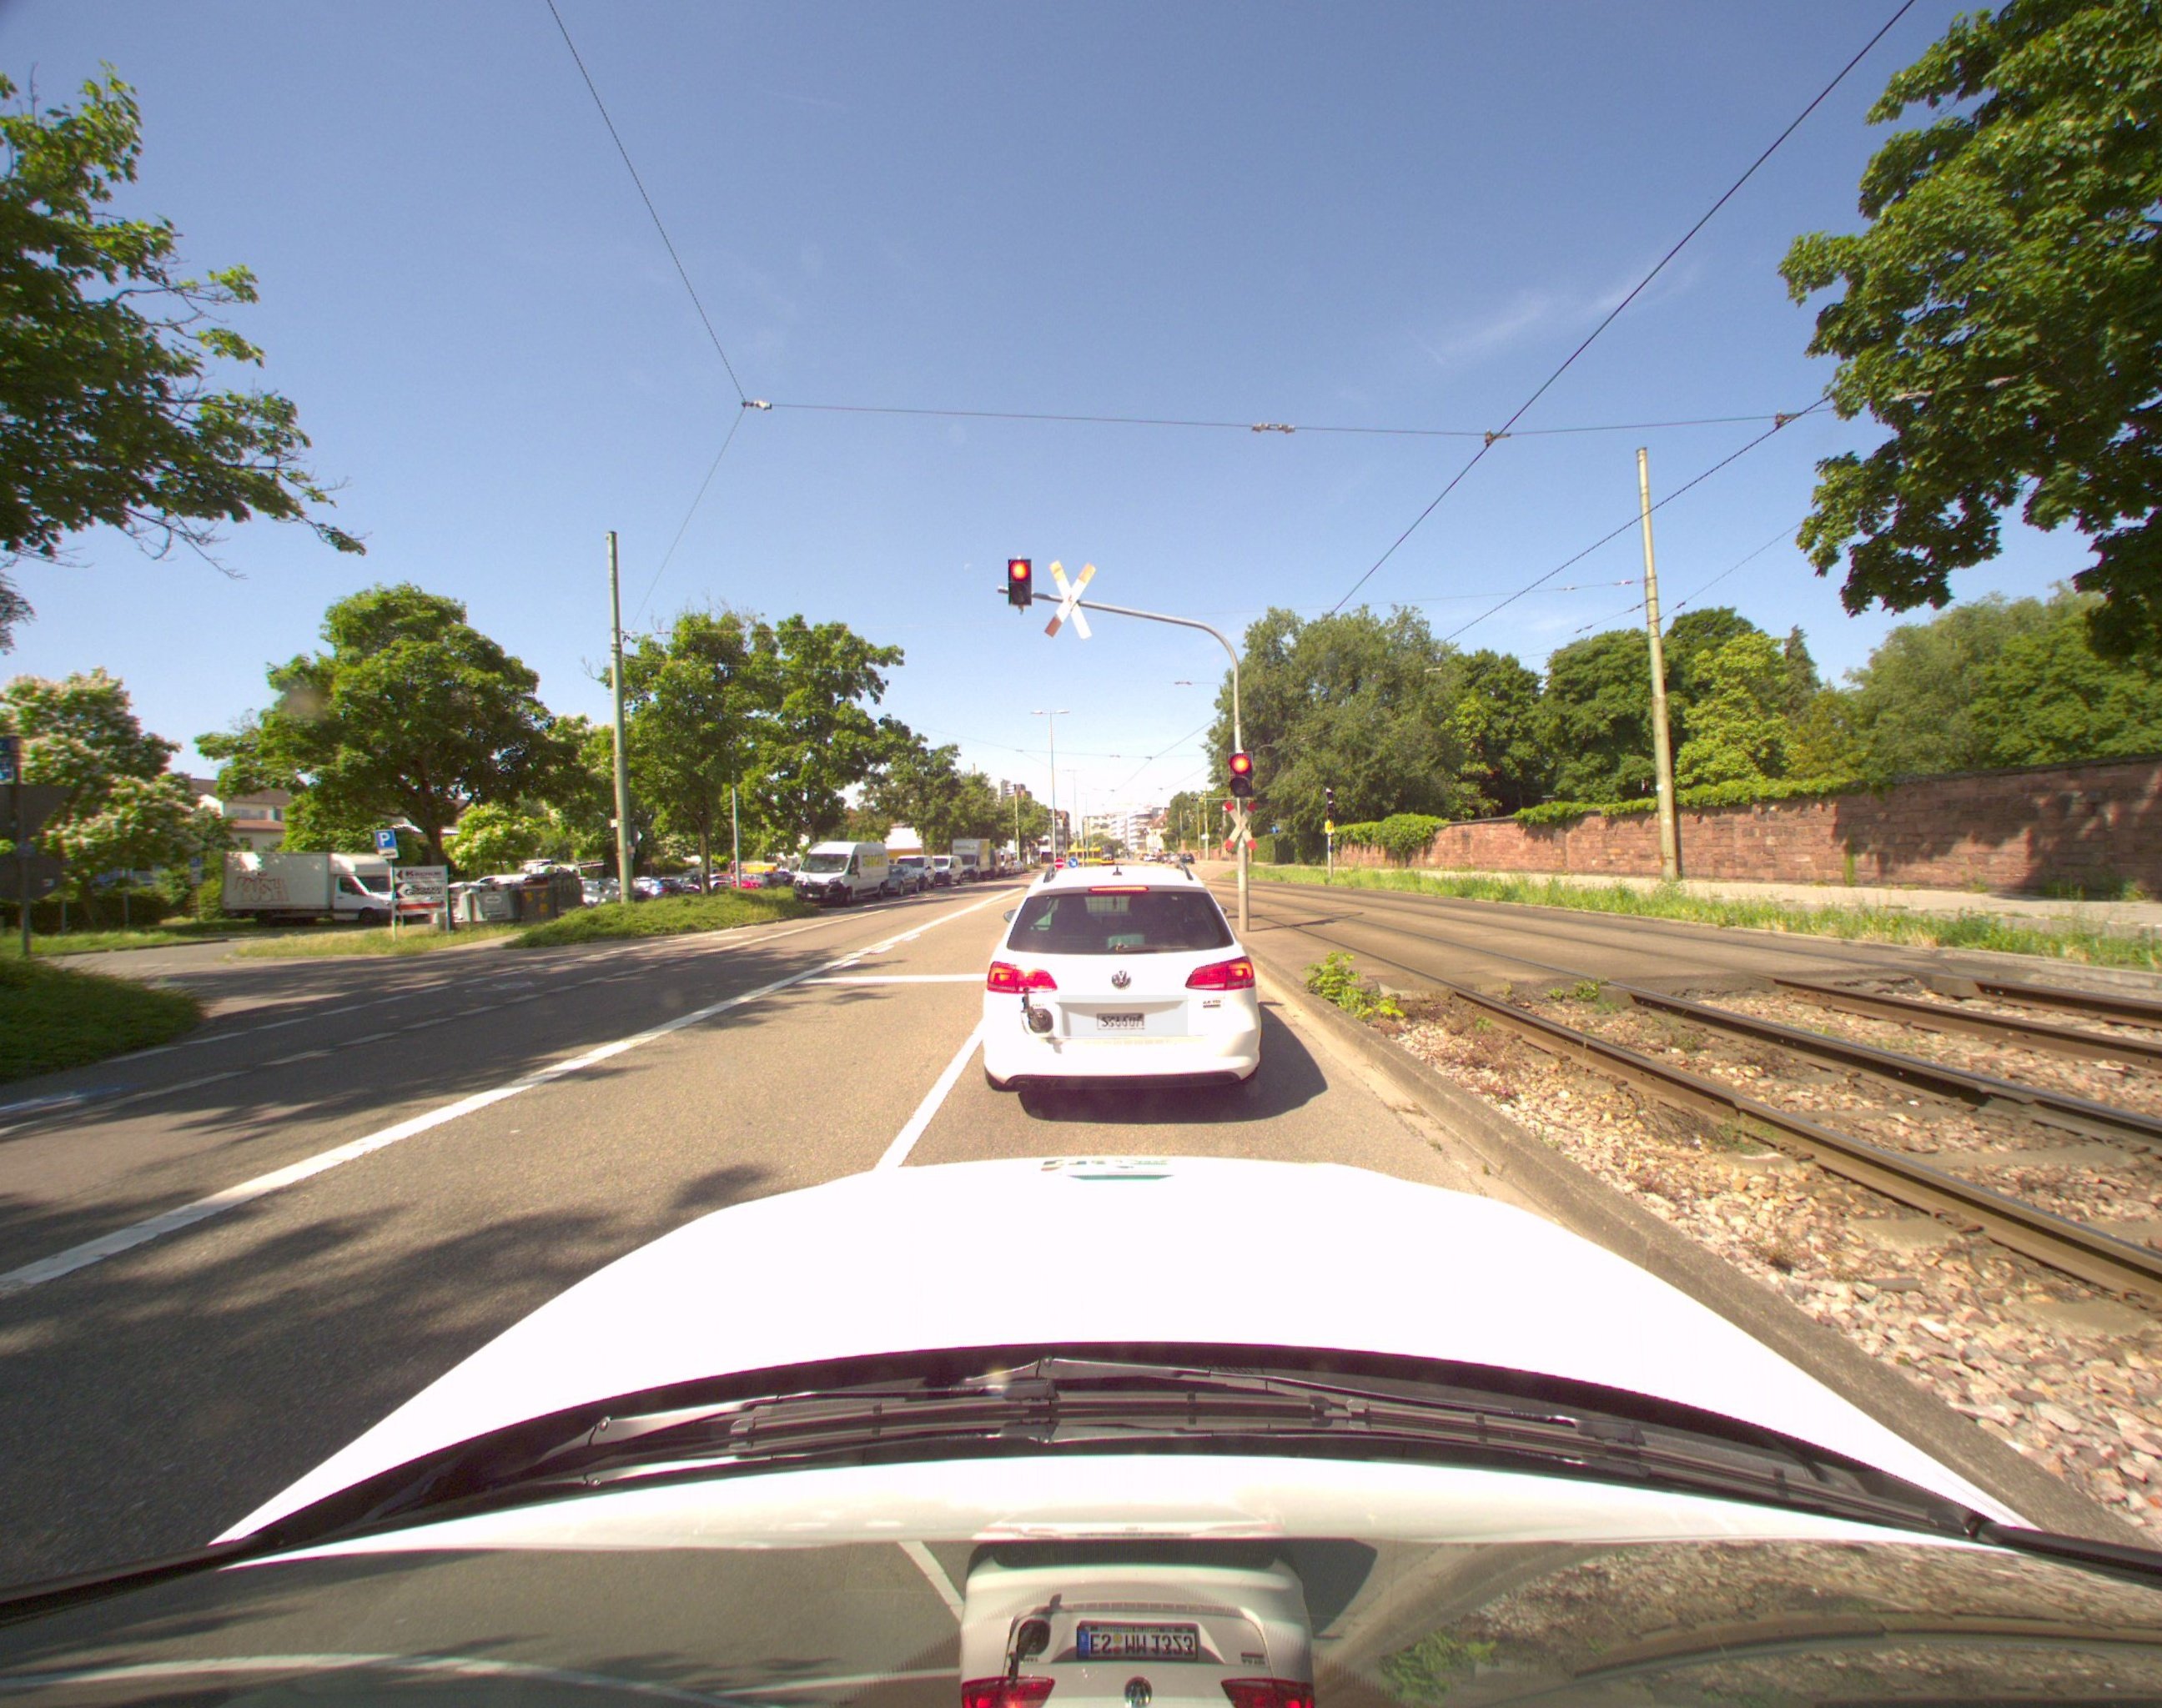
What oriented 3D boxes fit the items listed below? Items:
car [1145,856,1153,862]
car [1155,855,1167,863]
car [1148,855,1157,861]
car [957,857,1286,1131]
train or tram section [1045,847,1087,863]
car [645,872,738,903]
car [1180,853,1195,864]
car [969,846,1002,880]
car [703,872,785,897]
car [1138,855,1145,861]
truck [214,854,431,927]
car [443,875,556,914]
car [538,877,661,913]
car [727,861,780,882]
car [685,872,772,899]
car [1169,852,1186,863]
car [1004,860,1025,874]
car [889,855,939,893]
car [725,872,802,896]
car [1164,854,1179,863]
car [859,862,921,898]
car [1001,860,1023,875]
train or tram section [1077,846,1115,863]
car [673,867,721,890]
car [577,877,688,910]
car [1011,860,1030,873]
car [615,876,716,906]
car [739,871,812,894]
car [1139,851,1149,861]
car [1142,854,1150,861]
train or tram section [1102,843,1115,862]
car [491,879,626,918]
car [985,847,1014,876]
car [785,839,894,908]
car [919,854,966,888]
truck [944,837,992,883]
[{"bbox_3d":[15.411,1.038,183.599,1.576,1.346,3.455,0,-1,1],"label":"car"},{"bbox_3d":[14.143,0.815,144.212,1.740,1.407,3.912,0,0,0],"label":"car"},{"bbox_3d":[14.493,0.815,164.883,1.576,1.346,3.455,0,-1,1],"label":"car"},{"bbox_3d":[0.250,0.760,6.337,1.762,1.446,3.913,0,0,1],"label":"car"},{"bbox_3d":[-3.193,0.224,172.157,2.321,3.253,10.676,1,-1,-43],"label":"train or tram section"},{"bbox_3d":[-20.295,1.725,42.526,3.969,1.350,1.773,-3,0,4],"label":"car"},{"bbox_3d":[13.079,0.554,100.302,1.737,1.388,3.919,-1,0,5],"label":"car"},{"bbox_3d":[-7.962,0.747,68.475,1.836,2.668,5.006,-3,0,2],"label":"car"},{"bbox_3d":[-19.653,1.780,47.526,3.969,1.225,1.773,-3,0,4],"label":"car"},{"bbox_3d":[17.344,1.219,232.963,1.986,1.596,4.002,0,-1,2],"label":"car"},{"bbox_3d":[-32.456,1.515,35.026,7.119,3.019,2.231,0,0,-1],"label":"truck"},{"bbox_3d":[-32.183,2.227,45.195,4.683,2.014,1.997,0,-1,-4],"label":"car"},{"bbox_3d":[-19.908,1.696,33.785,3.974,1.225,1.771,-3,0,0],"label":"car"},{"bbox_3d":[-31.270,1.683,77.938,4.249,2.014,1.997,0,-1,-5],"label":"car"},{"bbox_3d":[-19.418,1.726,44.924,3.969,1.264,1.773,-3,0,4],"label":"car"},{"bbox_3d":[13.455,0.489,113.306,1.855,1.416,4.325,0,0,0],"label":"car"},{"bbox_3d":[-7.426,1.491,91.458,1.837,1.433,4.039,-3,0,2],"label":"car"},{"bbox_3d":[-9.283,1.054,45.668,1.839,1.937,5.189,-3,0,-2],"label":"car"},{"bbox_3d":[-19.518,1.818,50.120,3.969,1.225,1.773,-3,0,4],"label":"car"},{"bbox_3d":[14.222,0.685,128.007,1.855,1.513,3.913,0,0,0],"label":"car"},{"bbox_3d":[-9.077,1.193,39.040,1.837,1.516,4.199,-3,0,2],"label":"car"},{"bbox_3d":[-7.266,1.404,85.803,1.837,1.433,4.039,-3,0,2],"label":"car"},{"bbox_3d":[2.934,0.115,163.901,2.316,3.253,10.698,0,-1,-32],"label":"train or tram section"},{"bbox_3d":[-34.359,2.175,72.913,3.412,1.876,1.552,-3,0,-1],"label":"car"},{"bbox_3d":[-20.103,1.748,36.610,3.969,1.225,1.773,-3,0,4],"label":"car"},{"bbox_3d":[-7.135,1.472,96.949,1.774,1.433,4.039,-3,0,2],"label":"car"},{"bbox_3d":[-20.286,1.799,39.842,3.969,1.225,1.773,-3,0,4],"label":"car"},{"bbox_3d":[-19.644,1.843,52.448,3.969,1.225,1.773,-3,0,4],"label":"car"},{"bbox_3d":[16.657,0.529,216.488,2.454,2.499,5.912,0,-1,1],"label":"car"},{"bbox_3d":[15.734,0.853,196.906,1.685,1.812,3.455,0,-1,1],"label":"car"},{"bbox_3d":[4.893,-0.157,143.841,2.292,3.253,11.279,0,-1,2],"label":"train or tram section"},{"bbox_3d":[-20.005,1.694,31.305,3.974,1.225,1.771,-3,0,0],"label":"car"},{"bbox_3d":[-7.601,0.689,76.296,1.836,2.494,5.860,-3,0,2],"label":"car"},{"bbox_3d":[-9.560,0.695,32.915,2.049,2.501,6.315,0,0,4],"label":"car"},{"bbox_3d":[-8.804,1.042,52.309,1.836,1.960,5.137,-3,0,2],"label":"car"},{"bbox_3d":[-8.335,0.398,60.643,2.348,3.122,6.892,-3,0,1],"label":"truck"}]
